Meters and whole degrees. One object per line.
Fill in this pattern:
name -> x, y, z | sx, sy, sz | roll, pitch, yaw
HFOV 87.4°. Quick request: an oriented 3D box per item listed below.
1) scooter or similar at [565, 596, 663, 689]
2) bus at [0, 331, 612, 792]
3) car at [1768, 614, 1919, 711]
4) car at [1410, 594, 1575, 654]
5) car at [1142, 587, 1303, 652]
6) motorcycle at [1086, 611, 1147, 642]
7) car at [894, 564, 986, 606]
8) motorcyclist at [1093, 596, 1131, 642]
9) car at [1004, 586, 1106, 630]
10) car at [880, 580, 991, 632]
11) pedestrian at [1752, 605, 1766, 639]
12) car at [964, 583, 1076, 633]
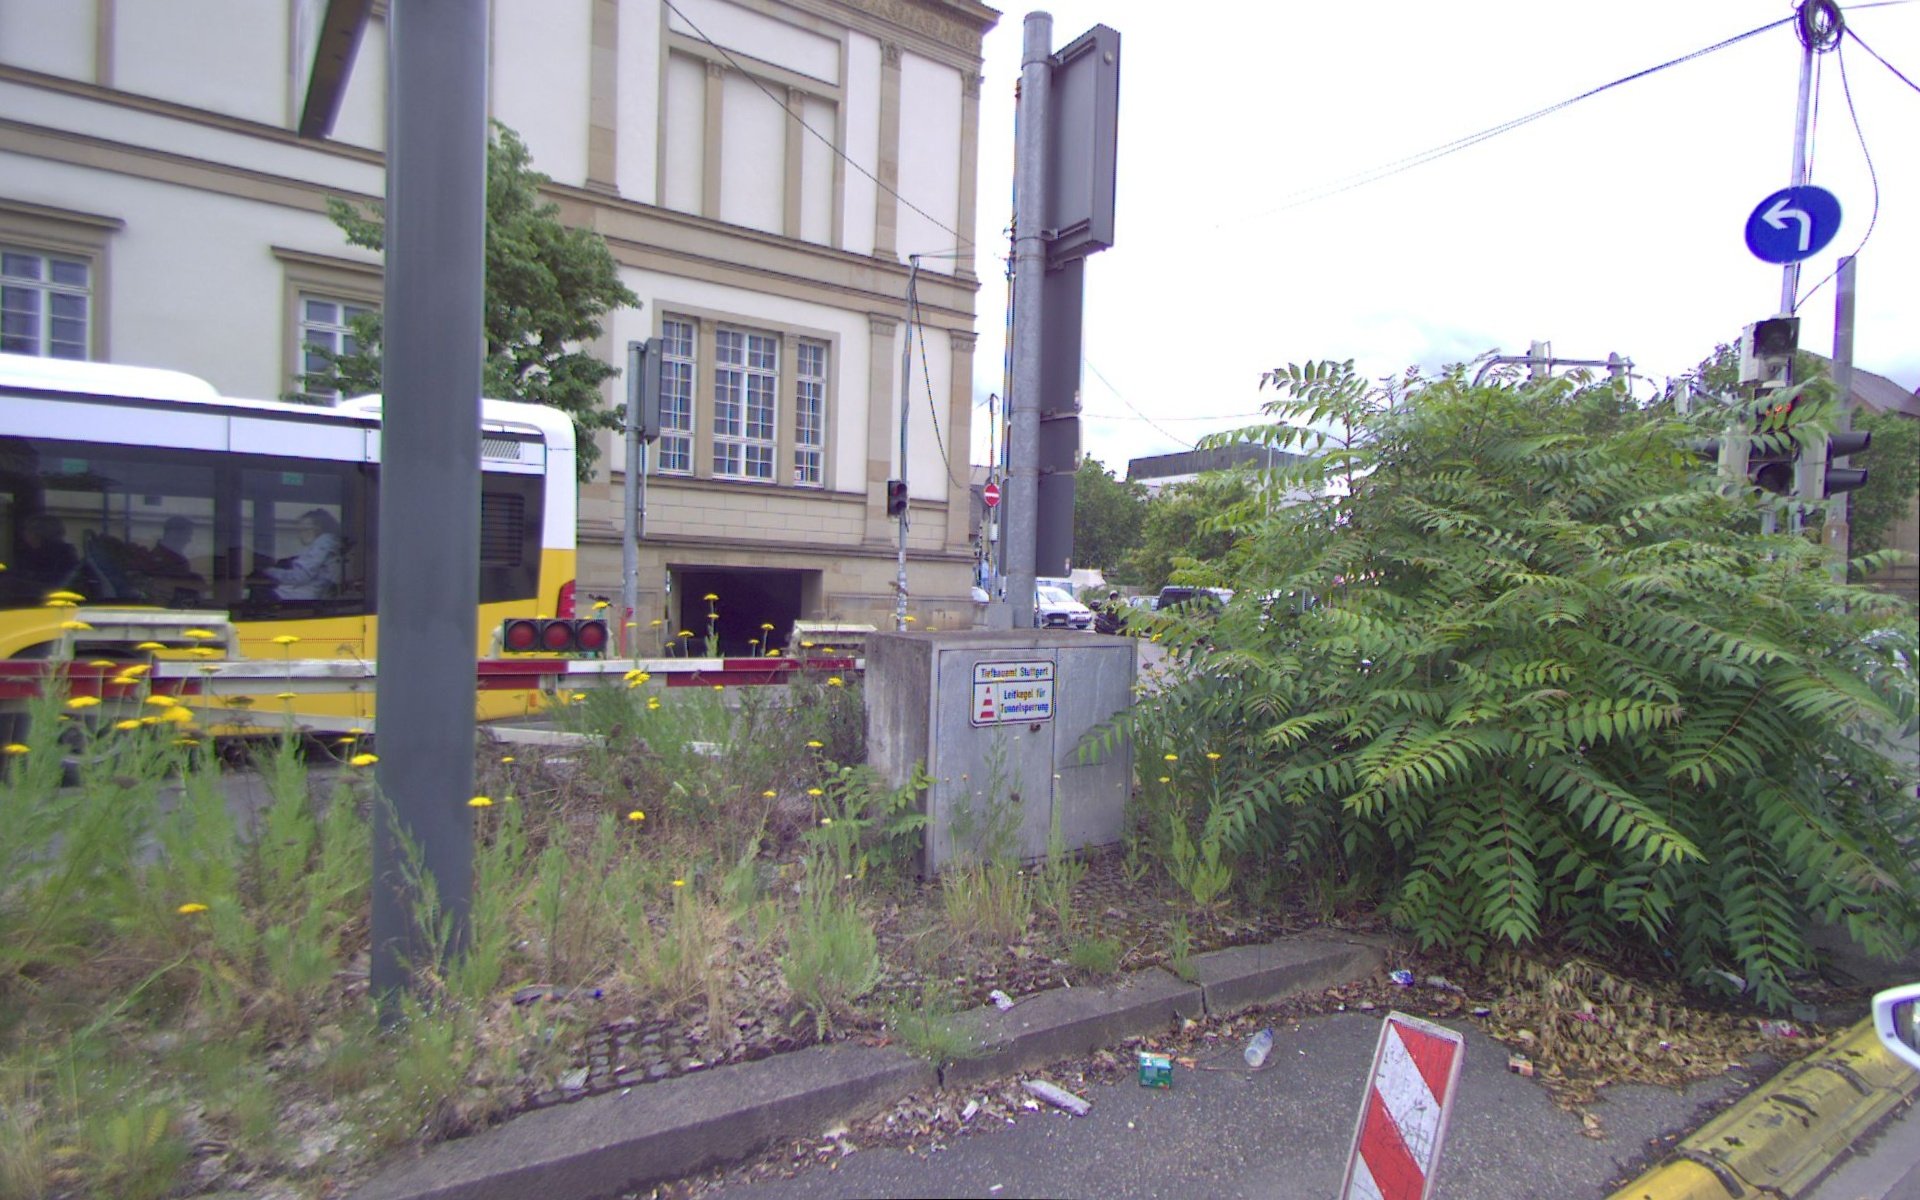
scooter or similar -> -4.853, 0.592, 14.149 | 1.132, 1.190, 0.540 | 6, 0, -10
bus -> -7.700, -0.293, 7.845 | 9.018, 3.156, 2.830 | 1, 1, -32
car -> 16.454, 1.066, 17.974 | 4.579, 1.491, 1.691 | 2, 0, -32
car -> 17.130, 0.733, 32.449 | 1.986, 1.698, 4.271 | 1, 1, -43
car -> 7.546, 0.516, 29.278 | 1.979, 1.698, 4.285 | 1, 1, -34
motorcycle -> 5.071, 0.849, 32.652 | 0.749, 0.937, 2.042 | 1, 1, -35
car -> -0.941, -0.676, 43.684 | 1.979, 1.698, 4.285 | 1, 1, -34
motorcyclist -> 4.961, 0.622, 32.809 | 0.738, 1.442, 0.959 | 1, 1, -35
car -> 3.904, 0.314, 41.903 | 1.979, 1.698, 4.285 | 1, 1, -34
car -> -0.931, 0.172, 35.952 | 1.979, 1.698, 4.285 | 1, 1, -34
pedestrian -> 49.758, 1.365, 62.556 | 0.516, 2.040, 0.428 | 2, 1, 17
car -> 2.158, 0.260, 37.469 | 1.979, 1.698, 4.285 | 1, 1, -34
